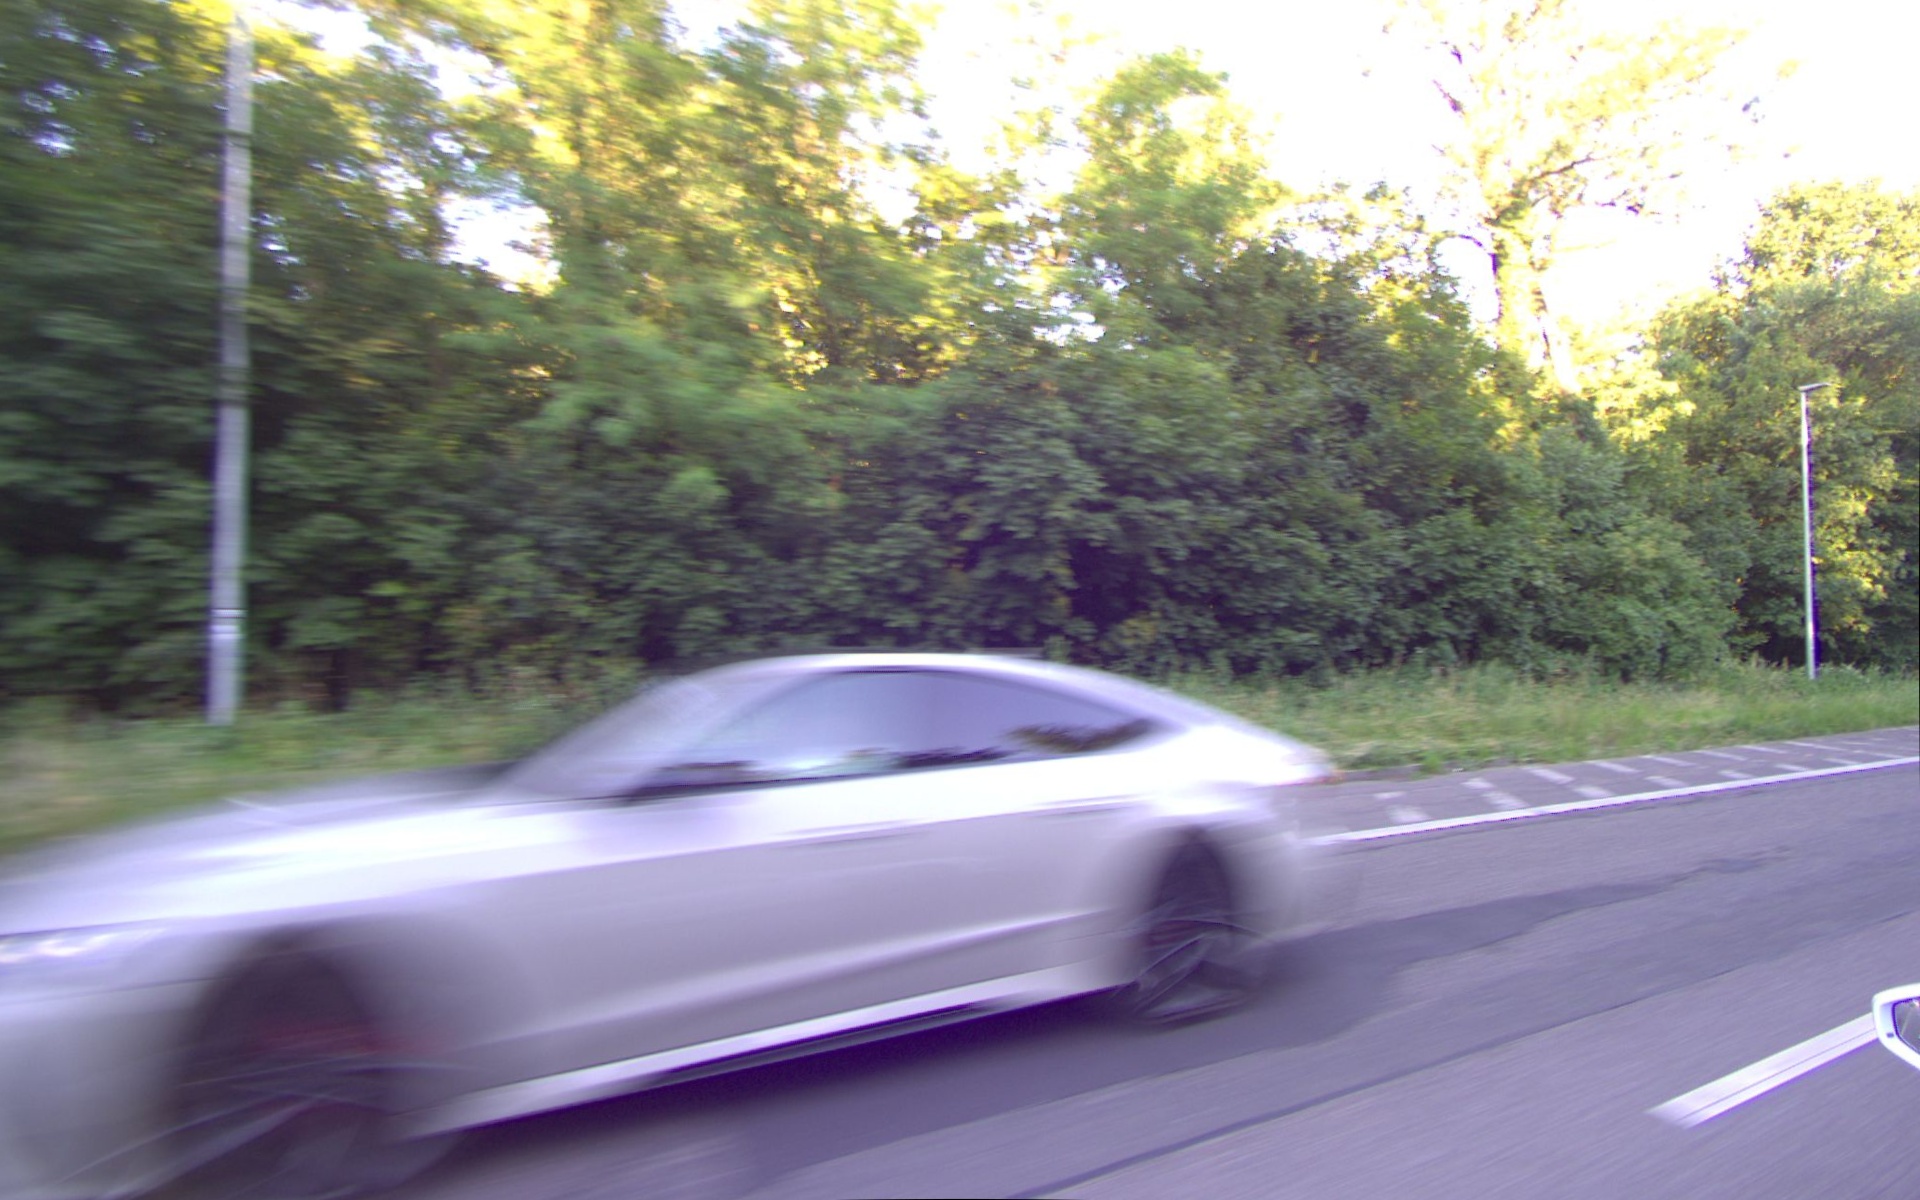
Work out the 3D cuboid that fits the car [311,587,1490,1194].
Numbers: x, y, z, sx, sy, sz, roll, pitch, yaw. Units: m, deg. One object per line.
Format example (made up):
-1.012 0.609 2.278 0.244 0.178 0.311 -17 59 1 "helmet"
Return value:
-0.058 0.811 4.378 4.409 1.454 2.056 2 -4 -28 "car"
